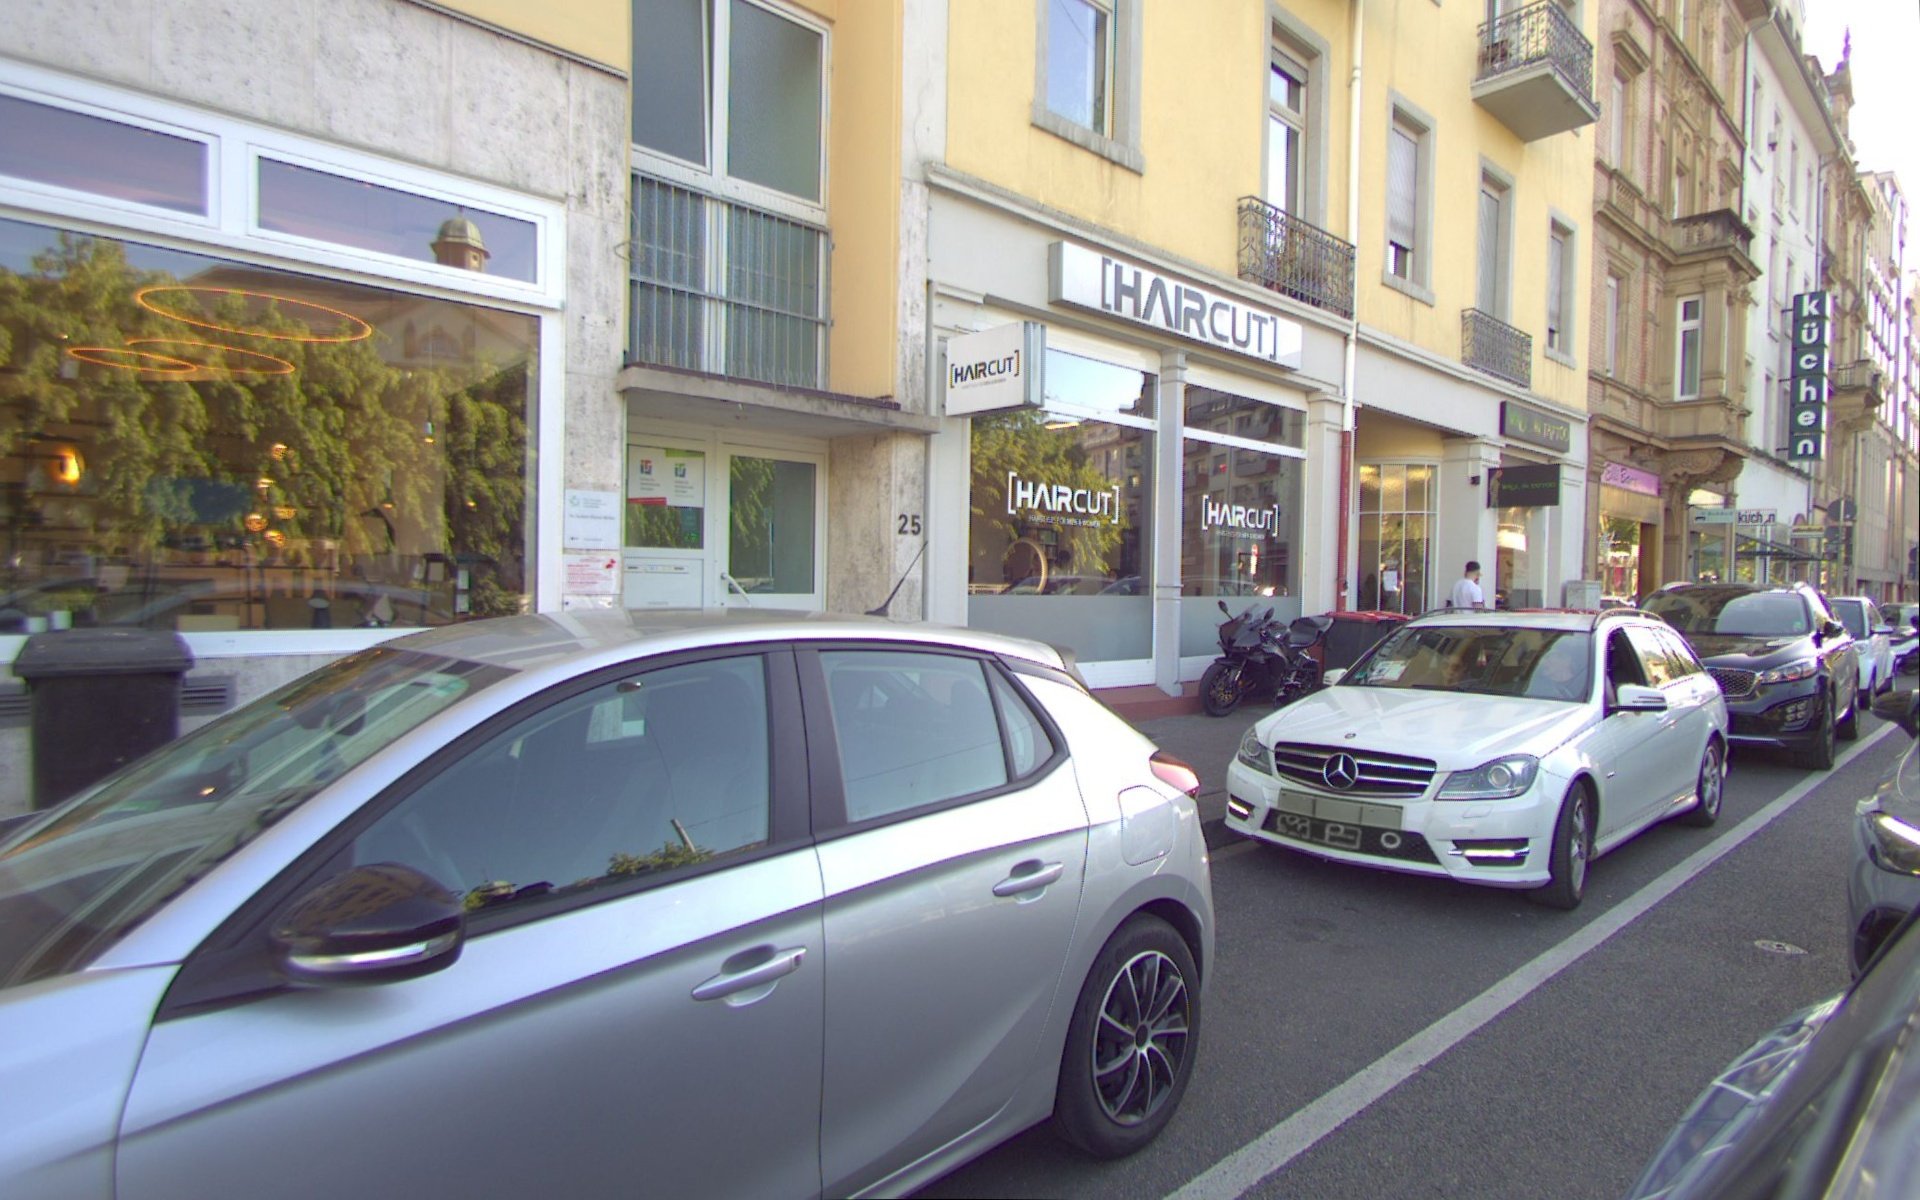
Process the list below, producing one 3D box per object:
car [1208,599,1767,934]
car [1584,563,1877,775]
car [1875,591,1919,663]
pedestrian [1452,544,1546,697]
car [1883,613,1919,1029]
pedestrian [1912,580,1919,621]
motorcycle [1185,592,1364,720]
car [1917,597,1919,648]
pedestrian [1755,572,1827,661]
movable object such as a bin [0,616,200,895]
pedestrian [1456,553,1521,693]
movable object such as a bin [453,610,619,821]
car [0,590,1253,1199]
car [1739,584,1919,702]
[{"bbox_3d":[3.536,0.707,6.379,4.301,1.389,1.671,-1,0,-41],"label":"car"},{"bbox_3d":[8.013,0.530,10.358,4.338,1.711,1.802,-1,0,-45],"label":"car"},{"bbox_3d":[21.901,0.565,22.801,3.736,1.509,1.691,-1,0,-45],"label":"car"},{"bbox_3d":[6.869,0.253,12.926,0.961,1.900,0.532,0,0,18],"label":"pedestrian"},{"bbox_3d":[5.401,0.749,4.368,4.397,1.385,1.767,-1,1,-43],"label":"car"},{"bbox_3d":[41.835,0.012,43.811,0.809,1.782,0.825,0,0,-42],"label":"pedestrian"},{"bbox_3d":[3.300,0.522,10.501,2.073,1.144,0.735,-1,5,-41],"label":"motorcycle"},{"bbox_3d":[26.613,0.573,26.919,3.306,1.334,1.459,-1,0,-42],"label":"car"},{"bbox_3d":[16.715,0.317,20.374,0.820,1.741,0.821,0,0,-22],"label":"pedestrian"},{"bbox_3d":[-3.671,0.598,4.315,0.639,1.036,0.737,0,0,-41],"label":"movable object such as a bin"},{"bbox_3d":[7.243,0.300,13.866,0.627,1.859,0.760,0,0,41],"label":"pedestrian"},{"bbox_3d":[-2.324,0.580,5.529,0.639,1.036,0.737,0,0,-41],"label":"movable object such as a bin"},{"bbox_3d":[-1.003,0.714,2.299,3.625,1.455,1.585,-1,0,-43],"label":"car"},{"bbox_3d":[12.774,0.546,14.844,2.945,1.542,1.582,-1,0,-41],"label":"car"}]
